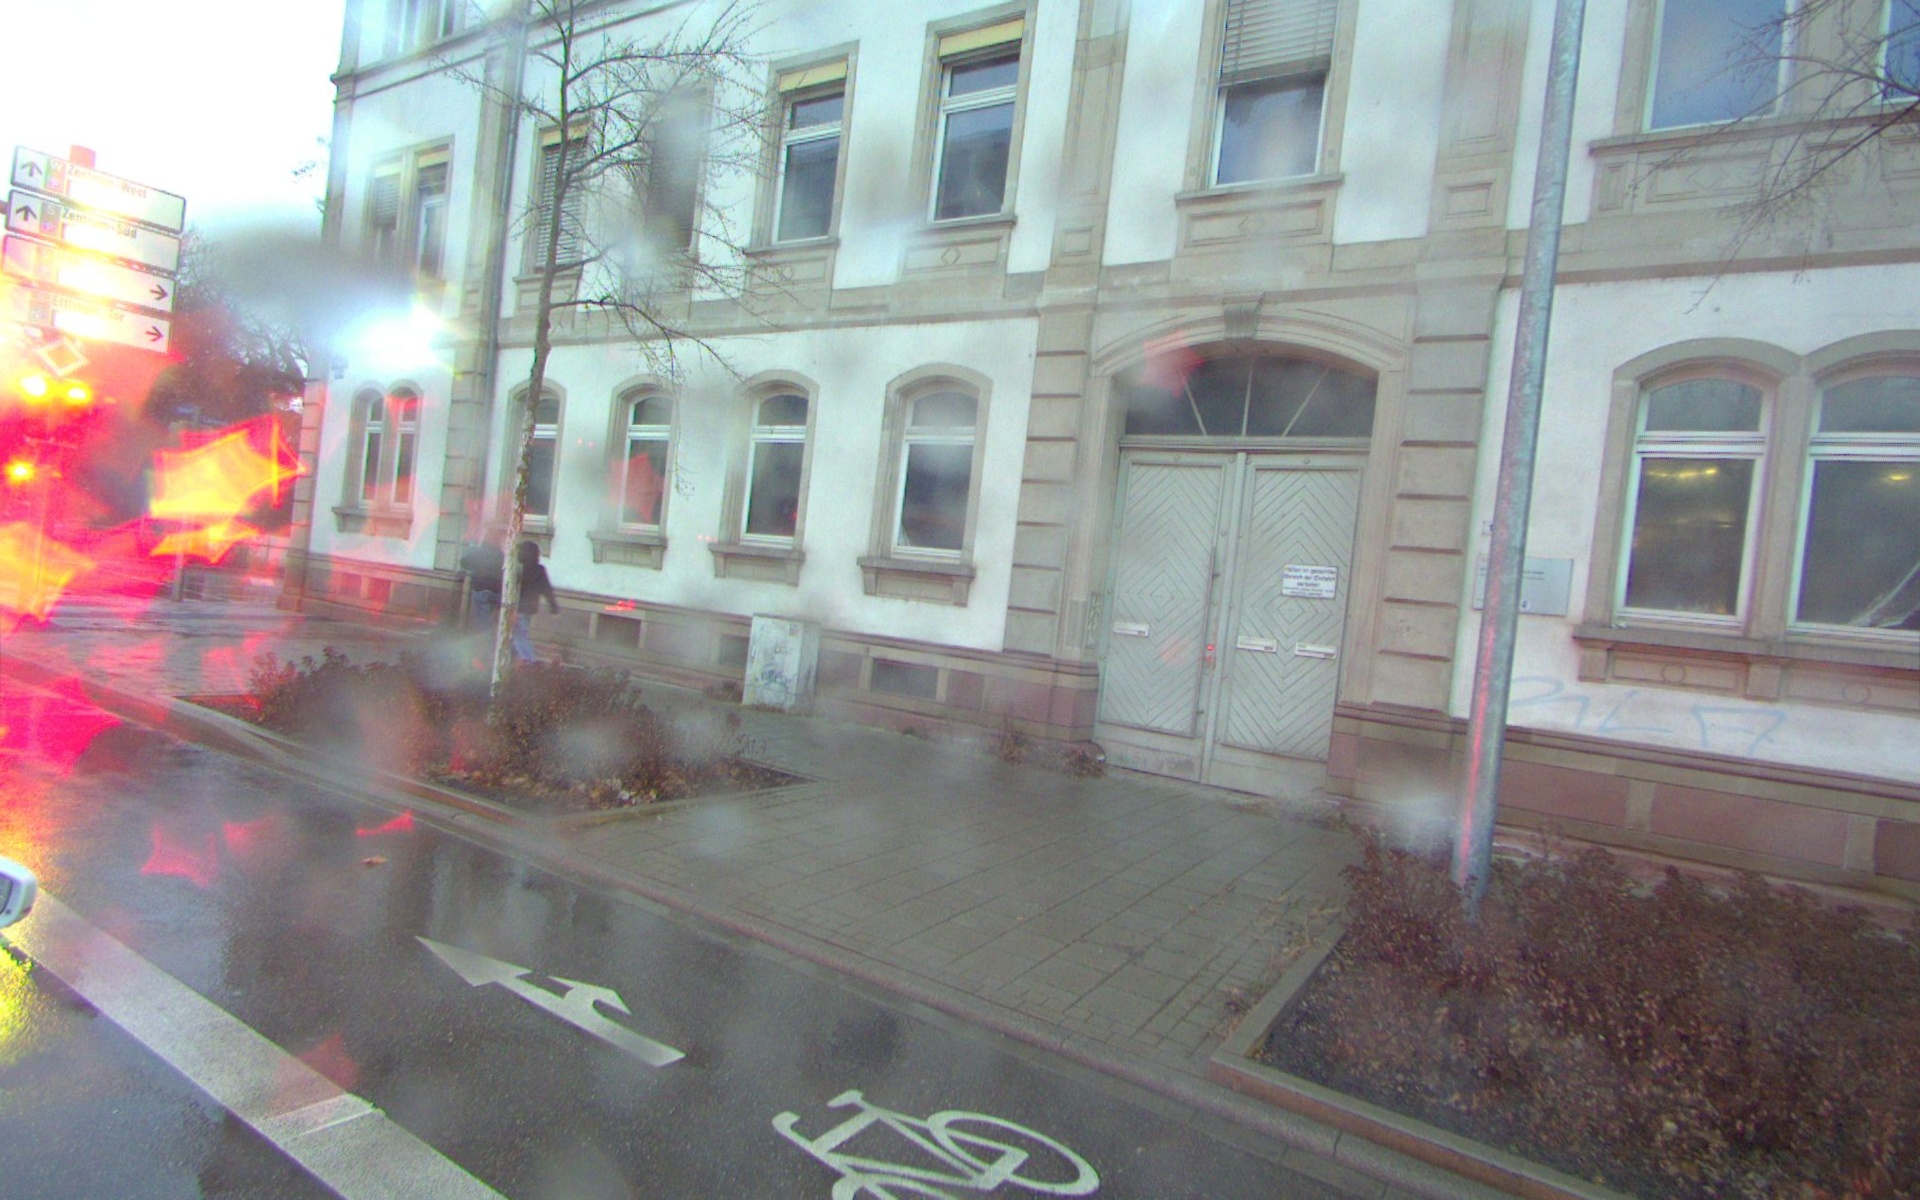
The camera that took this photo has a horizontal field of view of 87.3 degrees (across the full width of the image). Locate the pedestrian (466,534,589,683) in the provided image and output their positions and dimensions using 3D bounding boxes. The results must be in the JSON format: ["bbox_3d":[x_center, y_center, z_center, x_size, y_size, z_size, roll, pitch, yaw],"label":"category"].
[{"bbox_3d":[-5.082,0.103,11.816,0.996,1.597,0.781,6,-1,39],"label":"pedestrian"}]

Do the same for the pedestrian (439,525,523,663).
[{"bbox_3d":[-6.286,-0.073,13.234,0.774,1.651,1.005,8,-1,-25],"label":"pedestrian"}]
